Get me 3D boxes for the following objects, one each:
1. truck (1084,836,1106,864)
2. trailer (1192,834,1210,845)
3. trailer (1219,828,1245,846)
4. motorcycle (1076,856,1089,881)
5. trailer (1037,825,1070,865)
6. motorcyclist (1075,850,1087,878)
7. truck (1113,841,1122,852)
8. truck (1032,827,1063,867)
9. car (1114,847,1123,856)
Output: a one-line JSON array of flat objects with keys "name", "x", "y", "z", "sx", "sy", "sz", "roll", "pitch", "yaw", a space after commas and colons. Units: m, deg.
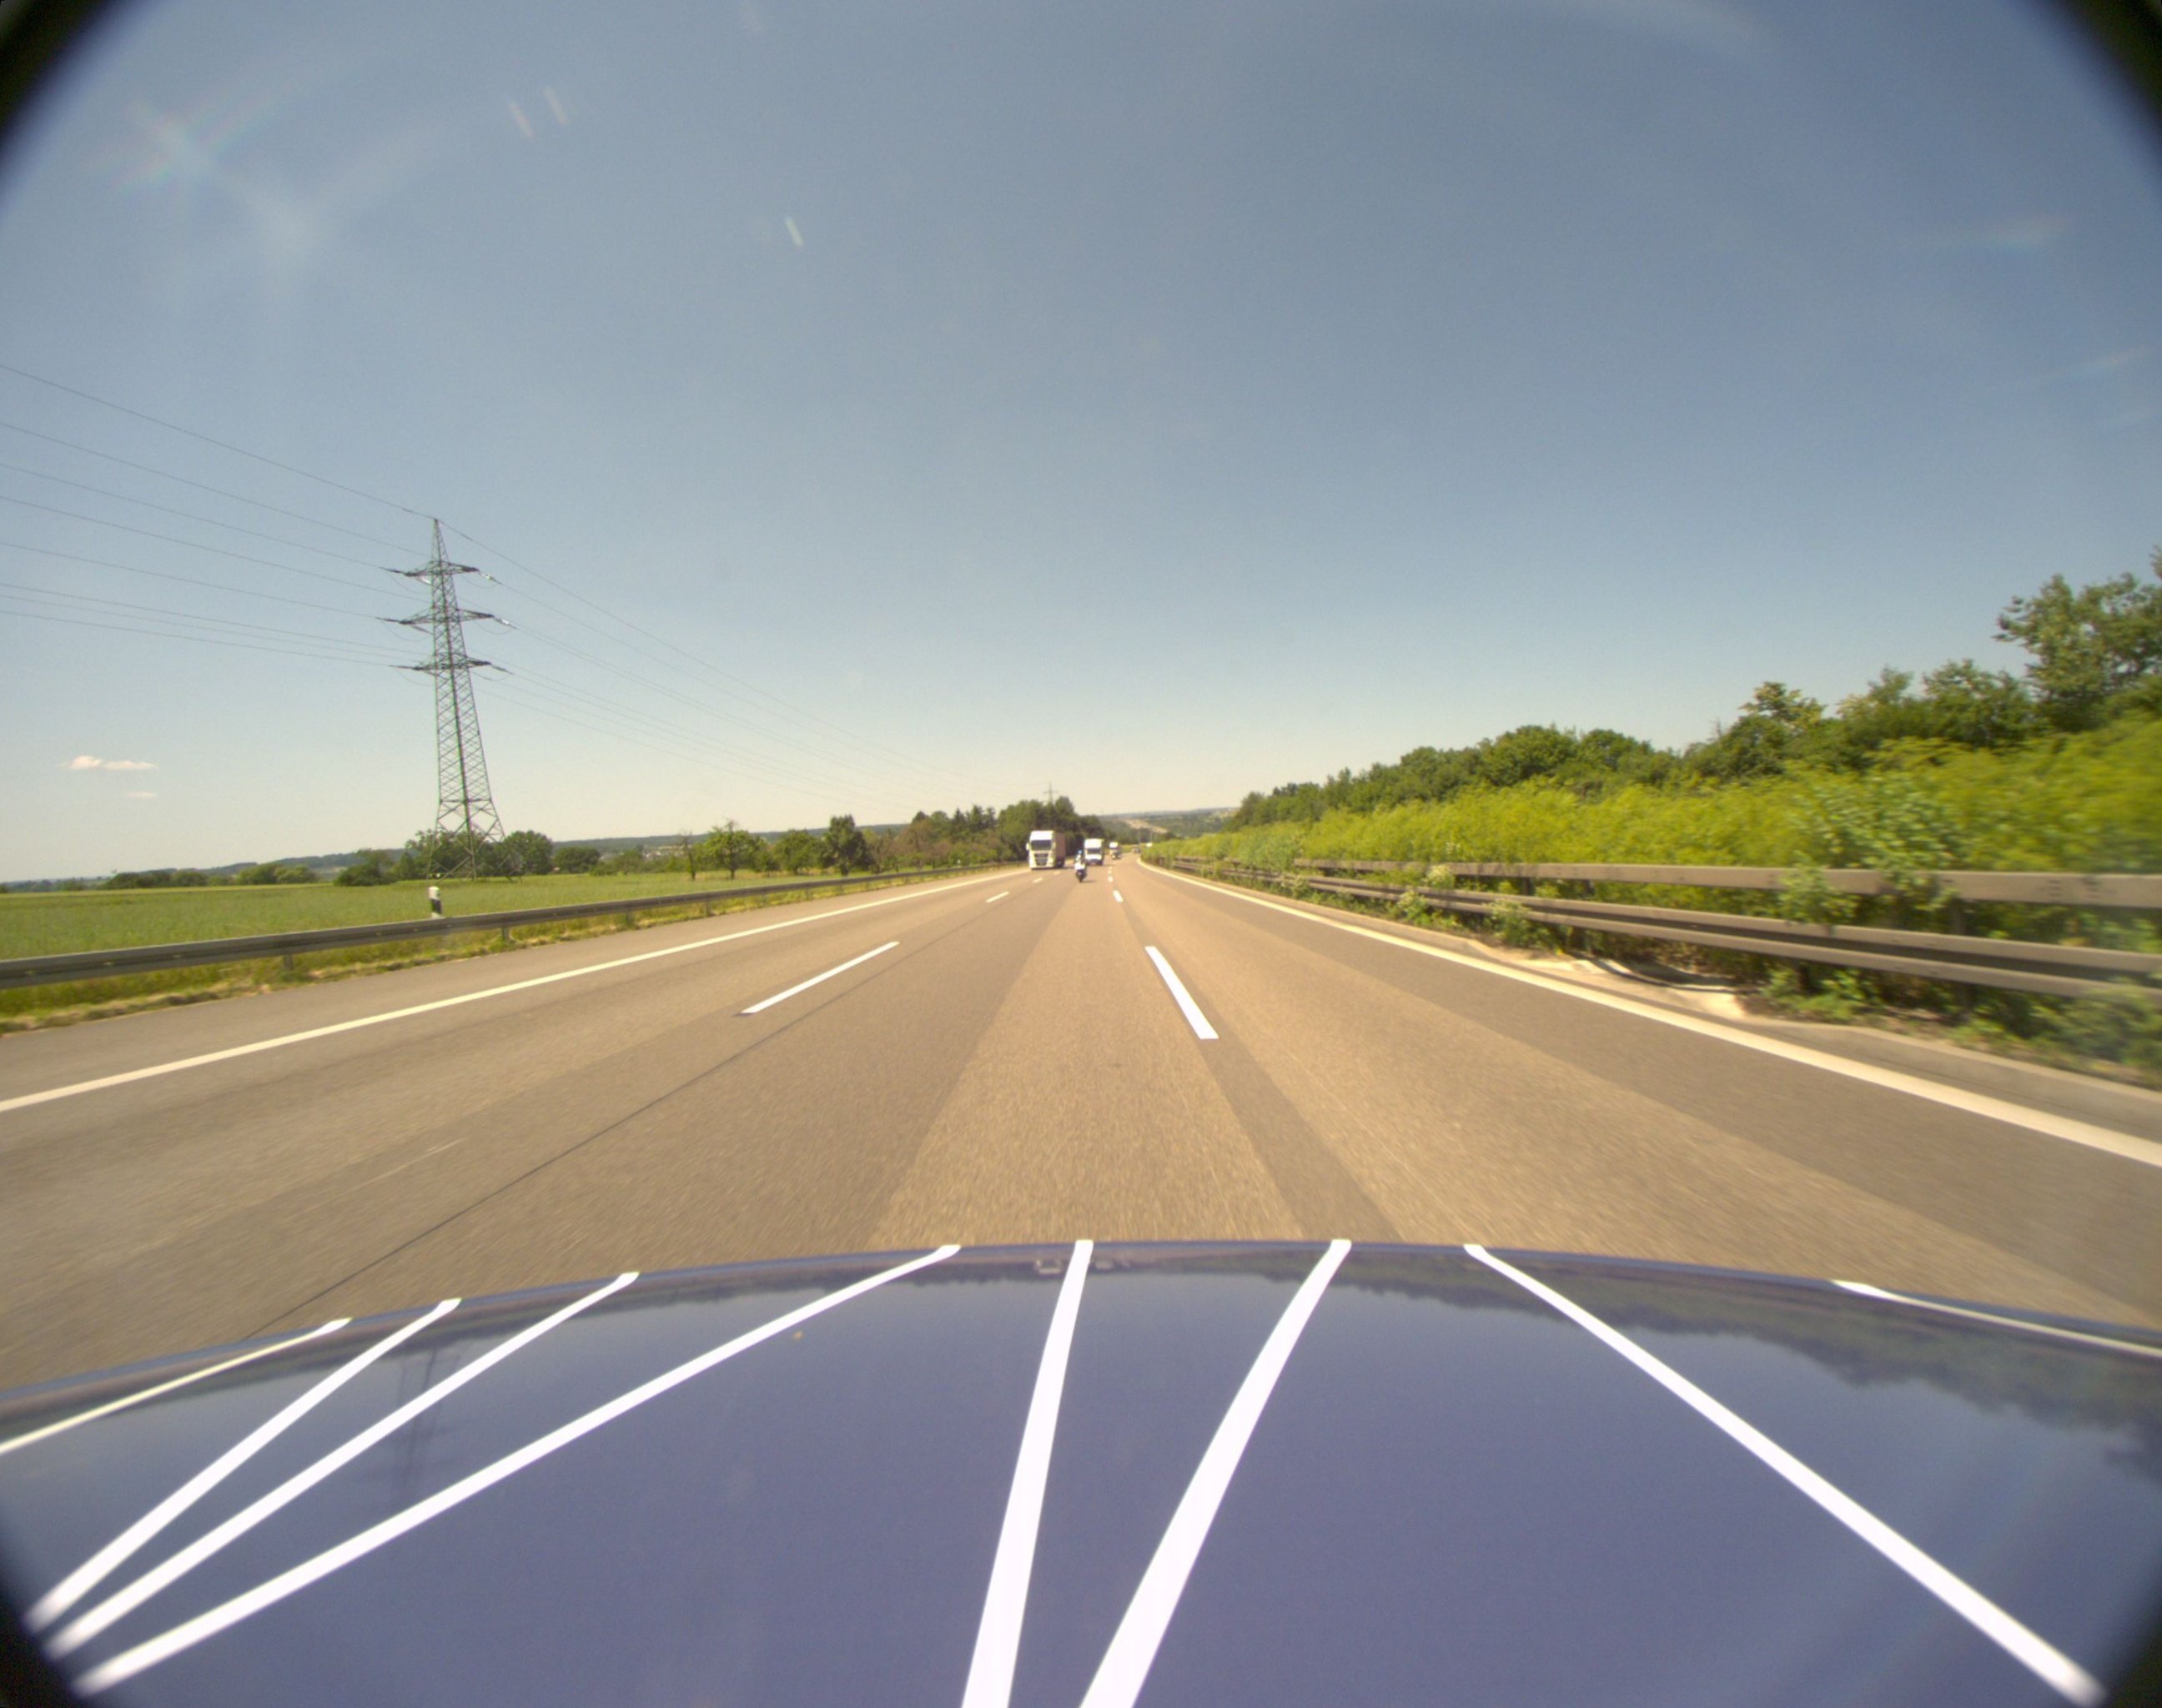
[{"name": "truck", "x": 1.756, "y": -0.539, "z": 93.111, "sx": 2.512, "sy": 3.268, "sz": 8.106, "roll": -1, "pitch": 1, "yaw": 1}, {"name": "trailer", "x": 30.559, "y": -3.607, "z": 193.843, "sx": 2.680, "sy": 2.785, "sz": 12.314, "roll": -1, "pitch": 1, "yaw": 1}, {"name": "trailer", "x": 24.828, "y": -2.762, "z": 125.640, "sx": 2.572, "sy": 2.694, "sz": 11.408, "roll": -1, "pitch": 1, "yaw": 3}, {"name": "motorcycle", "x": 0.068, "y": 0.768, "z": 40.970, "sx": 0.631, "sy": 1.279, "sz": 2.312, "roll": -2, "pitch": 1, "yaw": 0}, {"name": "trailer", "x": -3.109, "y": -1.038, "z": 89.590, "sx": 2.607, "sy": 4.239, "sz": 13.035, "roll": -2, "pitch": 1, "yaw": 3}, {"name": "motorcyclist", "x": 0.017, "y": 0.520, "z": 41.019, "sx": 0.613, "sy": 1.499, "sz": 0.513, "roll": -2, "pitch": 1, "yaw": 1}, {"name": "truck", "x": 11.842, "y": -2.361, "z": 247.280, "sx": 2.590, "sy": 3.444, "sz": 5.963, "roll": -1, "pitch": 1, "yaw": 3}, {"name": "truck", "x": -3.536, "y": -0.760, "z": 81.522, "sx": 2.567, "sy": 4.130, "sz": 6.249, "roll": -2, "pitch": 1, "yaw": 3}, {"name": "car", "x": 7.938, "y": -0.570, "z": 159.890, "sx": 1.704, "sy": 1.958, "sz": 4.000, "roll": -1, "pitch": 1, "yaw": 2}]
